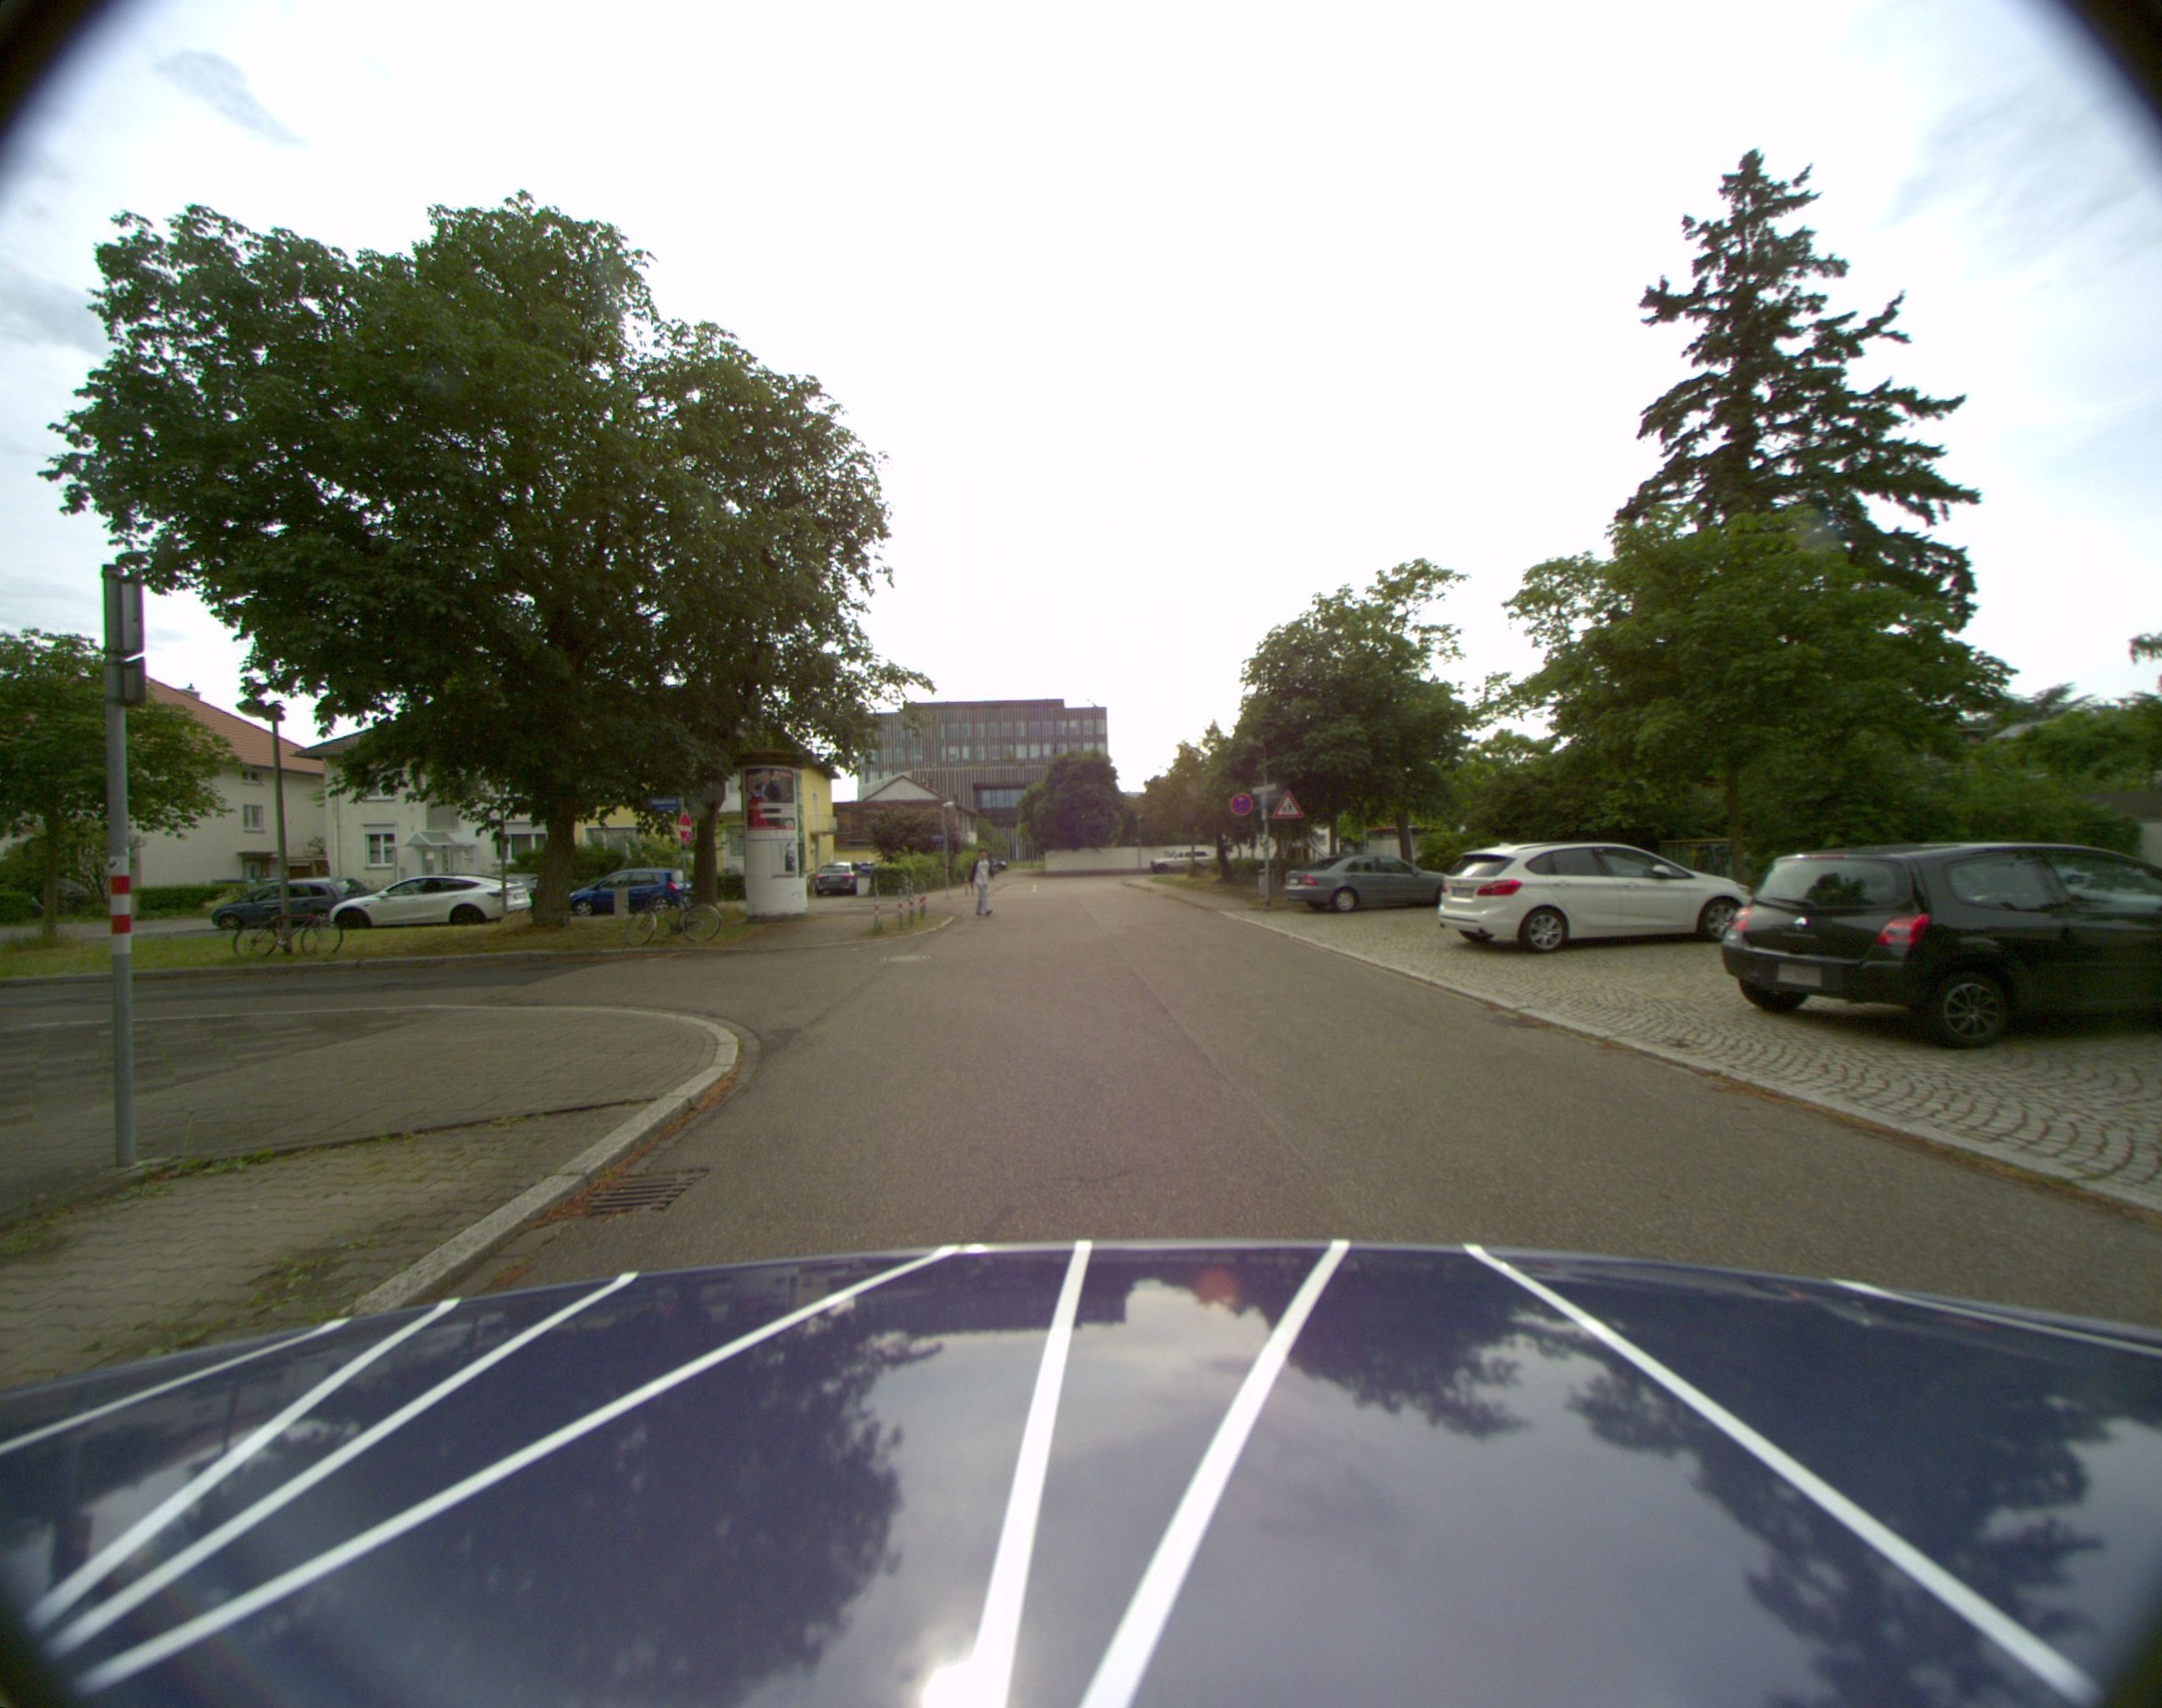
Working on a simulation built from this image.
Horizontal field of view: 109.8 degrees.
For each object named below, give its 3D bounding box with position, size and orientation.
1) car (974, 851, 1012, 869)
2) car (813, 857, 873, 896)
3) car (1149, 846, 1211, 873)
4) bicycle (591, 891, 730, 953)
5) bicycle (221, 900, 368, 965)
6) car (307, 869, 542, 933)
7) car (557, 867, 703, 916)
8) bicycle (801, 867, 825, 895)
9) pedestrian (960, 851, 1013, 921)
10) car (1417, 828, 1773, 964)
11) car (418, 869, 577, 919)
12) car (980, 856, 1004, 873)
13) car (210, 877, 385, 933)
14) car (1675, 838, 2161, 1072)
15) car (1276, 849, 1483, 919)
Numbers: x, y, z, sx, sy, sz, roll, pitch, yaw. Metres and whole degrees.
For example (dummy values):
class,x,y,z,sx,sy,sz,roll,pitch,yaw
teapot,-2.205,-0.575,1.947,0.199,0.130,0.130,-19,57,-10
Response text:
class,x,y,z,sx,sy,sz,roll,pitch,yaw
car,-9.875,0.655,85.270,3.997,1.828,1.999,-2,3,-1
car,-10.729,0.975,34.488,1.843,1.601,3.997,-2,0,-7
car,7.845,0.420,60.269,4.493,1.849,1.998,-2,3,-6
bicycle,-7.862,1.260,14.281,2.183,0.980,0.511,-2,3,-10
bicycle,-14.589,1.444,14.138,1.884,1.060,0.667,-2,1,-6
car,-18.934,1.324,22.135,4.883,1.557,1.901,-2,0,-8
car,-16.455,1.350,27.871,4.208,1.557,1.704,-2,2,-4
bicycle,-12.234,1.223,34.752,0.483,1.187,2.175,-2,0,-6
pedestrian,-2.589,0.846,20.772,0.880,1.825,1.216,-2,1,-40
car,7.658,0.560,11.598,4.146,1.552,1.883,-5,2,-3
car,-20.938,1.412,27.416,4.167,1.492,1.717,-2,3,-8
car,-8.705,0.994,74.726,1.999,1.390,3.997,-2,3,-2
car,-27.172,1.750,26.487,3.885,1.593,1.717,-2,3,-9
car,7.873,0.685,6.194,4.556,1.455,1.841,-3,1,1
car,7.441,0.708,19.143,4.559,1.446,1.679,-3,1,-7
